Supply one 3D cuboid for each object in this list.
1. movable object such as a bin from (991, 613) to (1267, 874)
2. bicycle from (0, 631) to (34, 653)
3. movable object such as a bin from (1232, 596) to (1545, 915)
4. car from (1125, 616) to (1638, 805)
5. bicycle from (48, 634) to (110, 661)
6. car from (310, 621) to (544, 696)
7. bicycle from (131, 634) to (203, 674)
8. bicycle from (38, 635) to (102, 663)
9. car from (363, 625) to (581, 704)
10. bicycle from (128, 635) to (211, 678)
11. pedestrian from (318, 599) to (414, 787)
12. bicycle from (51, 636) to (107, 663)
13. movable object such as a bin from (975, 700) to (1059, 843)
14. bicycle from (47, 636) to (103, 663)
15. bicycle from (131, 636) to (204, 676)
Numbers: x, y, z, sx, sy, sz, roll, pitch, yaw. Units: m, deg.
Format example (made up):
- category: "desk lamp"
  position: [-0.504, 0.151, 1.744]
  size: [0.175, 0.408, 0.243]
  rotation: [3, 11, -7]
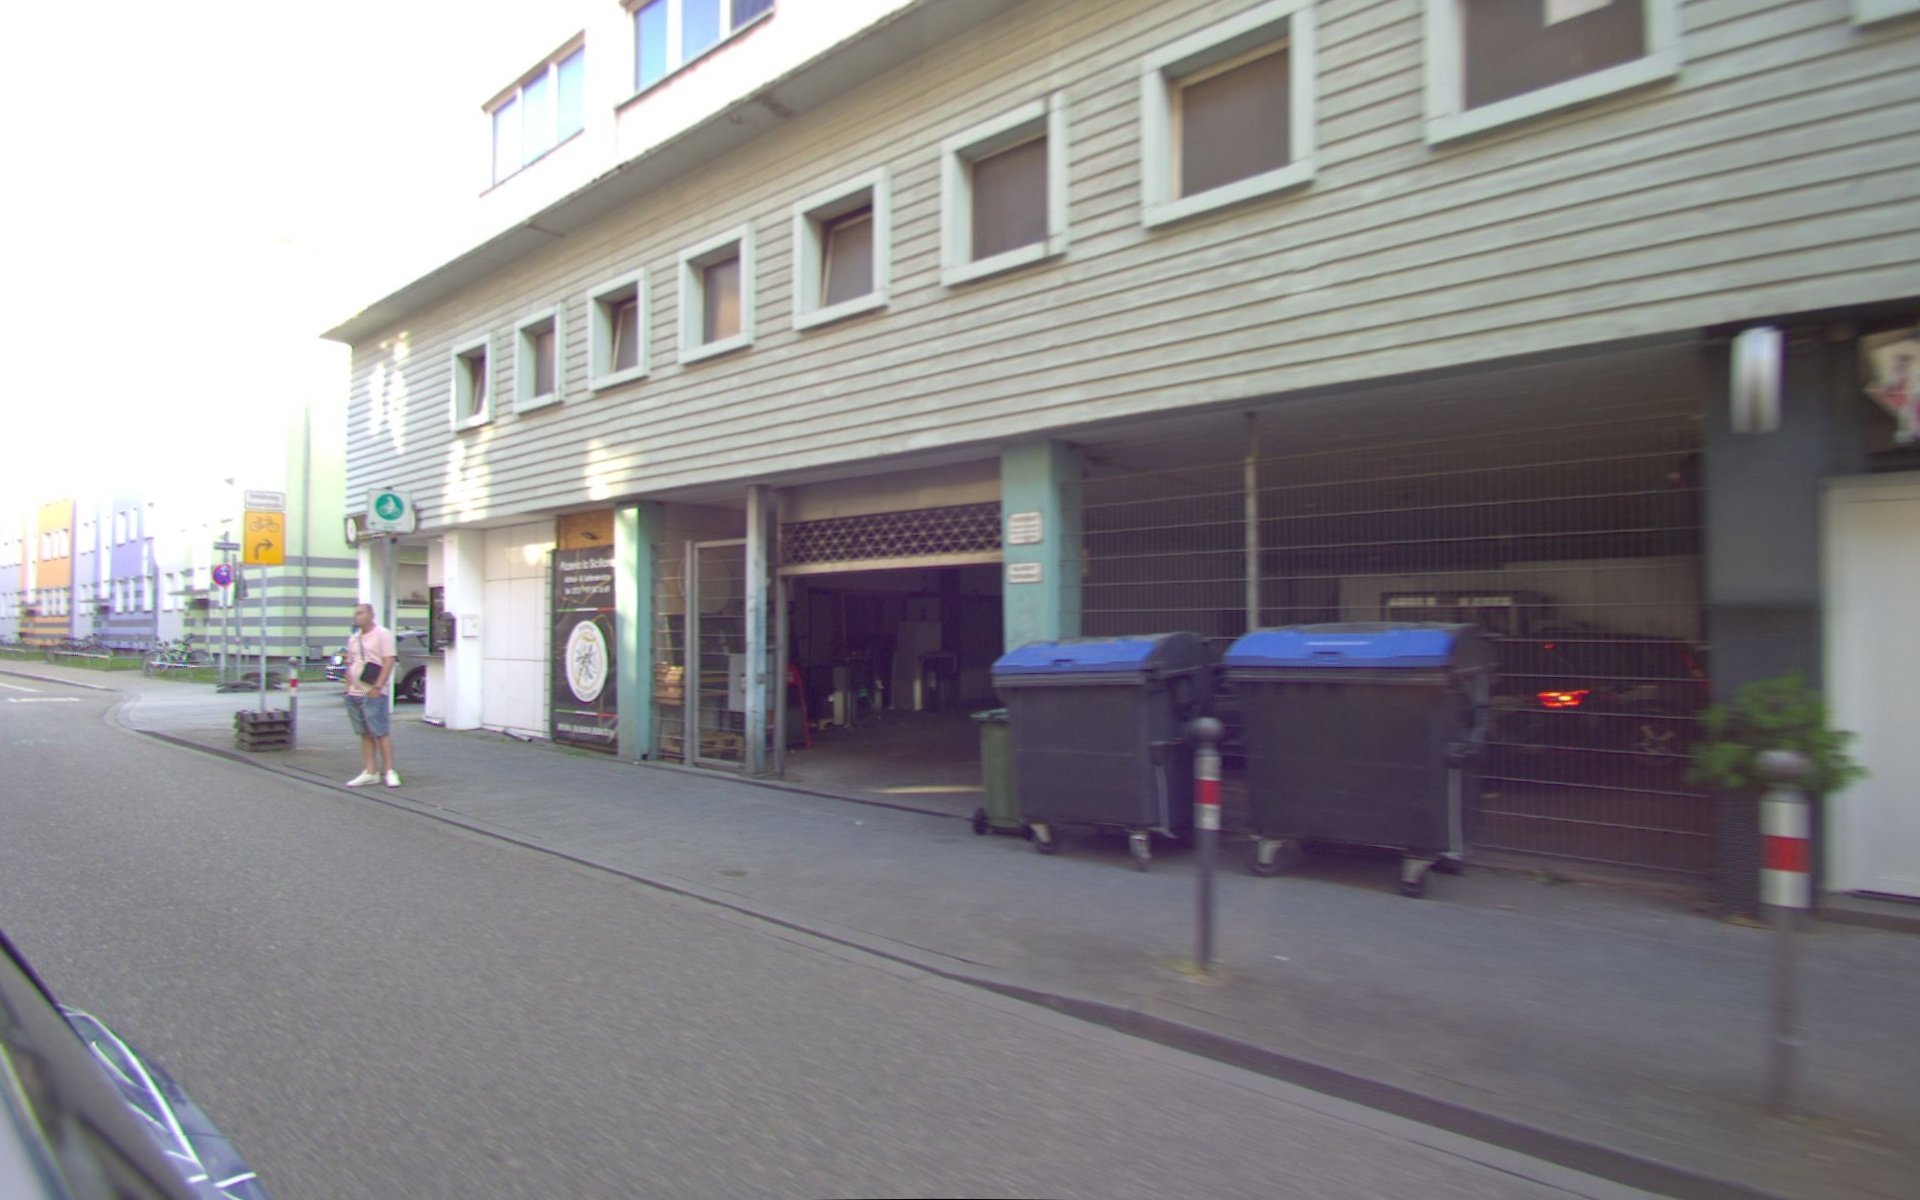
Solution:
- category: "movable object such as a bin"
  position: [1.083, 0.858, 6.613]
  size: [1.473, 1.483, 0.958]
  rotation: [-3, -4, 40]
- category: "bicycle"
  position: [-47.123, 2.088, 50.059]
  size: [0.653, 0.990, 1.787]
  rotation: [-1, 2, 36]
- category: "movable object such as a bin"
  position: [2.430, 0.786, 5.751]
  size: [1.341, 1.532, 1.111]
  rotation: [-3, -3, 40]
- category: "car"
  position: [4.151, 0.962, 10.481]
  size: [4.598, 1.547, 1.744]
  rotation: [-1, -2, 41]
- category: "bicycle"
  position: [-34.740, 1.860, 39.914]
  size: [0.388, 0.953, 1.781]
  rotation: [-2, 1, 39]
- category: "car"
  position: [-12.540, 1.300, 24.058]
  size: [1.786, 1.490, 4.607]
  rotation: [1, 0, 40]
- category: "bicycle"
  position: [-24.898, 1.692, 31.809]
  size: [0.387, 1.109, 1.720]
  rotation: [-2, 1, 32]
- category: "bicycle"
  position: [-34.438, 1.898, 39.189]
  size: [0.388, 0.953, 1.781]
  rotation: [-2, 1, 39]
- category: "car"
  position: [-10.389, 1.316, 21.768]
  size: [1.690, 1.531, 3.894]
  rotation: [-1, -2, 38]
- category: "bicycle"
  position: [-23.705, 1.680, 30.363]
  size: [0.749, 1.109, 1.798]
  rotation: [-2, 1, 39]
- category: "pedestrian"
  position: [-5.560, 0.844, 9.474]
  size: [0.625, 1.682, 0.489]
  rotation: [-1, 0, 27]
- category: "bicycle"
  position: [-35.577, 1.986, 40.869]
  size: [0.388, 0.953, 1.637]
  rotation: [-2, 1, 39]
- category: "movable object such as a bin"
  position: [0.413, 1.223, 7.342]
  size: [0.467, 0.949, 0.389]
  rotation: [-2, -3, 40]
- category: "bicycle"
  position: [-35.914, 1.987, 41.097]
  size: [0.388, 0.953, 1.637]
  rotation: [-2, 1, 39]
- category: "bicycle"
  position: [-24.636, 1.721, 31.489]
  size: [0.387, 1.109, 1.720]
  rotation: [-2, 1, 32]
